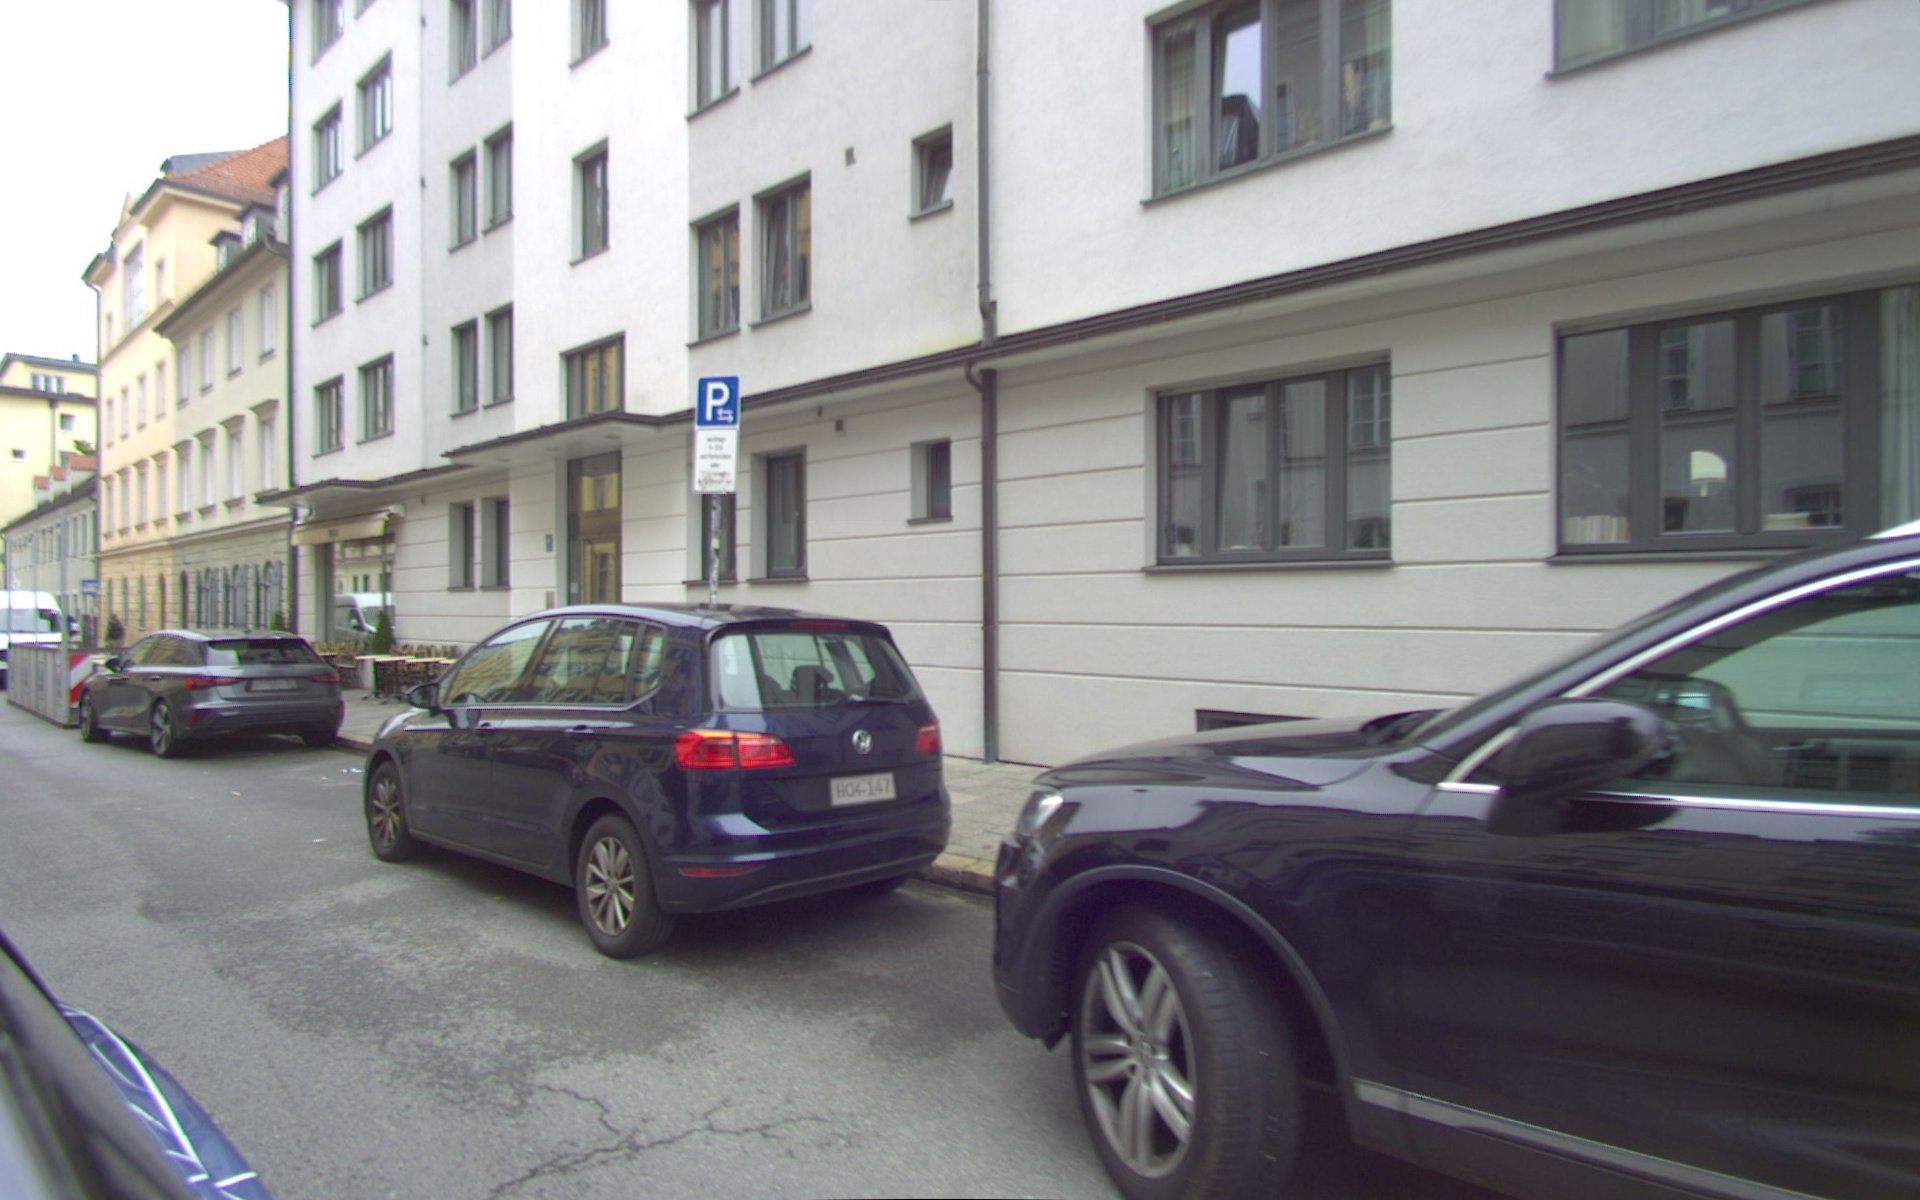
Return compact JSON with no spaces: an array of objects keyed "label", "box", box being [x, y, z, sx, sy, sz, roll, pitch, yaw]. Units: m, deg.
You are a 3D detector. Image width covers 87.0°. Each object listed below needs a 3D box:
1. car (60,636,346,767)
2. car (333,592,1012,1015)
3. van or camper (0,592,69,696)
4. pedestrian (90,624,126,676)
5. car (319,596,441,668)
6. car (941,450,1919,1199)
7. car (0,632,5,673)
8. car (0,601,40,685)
[{"label":"car","box":[-9.345,1.133,12.407,4.049,1.365,1.624,-2,-3,35]},{"label":"car","box":[-1.868,0.830,5.783,4.157,1.551,1.755,-2,-3,41]},{"label":"van or camper","box":[-23.355,1.038,24.671,5.479,2.329,1.971,-1,-1,43]},{"label":"pedestrian","box":[-28.626,1.663,33.989,1.021,1.725,0.797,-2,-2,43]},{"label":"car","box":[-17.519,0.937,30.500,4.399,2.029,1.972,-1,-1,43]},{"label":"car","box":[2.245,0.642,2.122,4.518,1.701,1.853,-2,-3,41]},{"label":"car","box":[-34.713,1.825,35.022,4.264,1.412,1.839,-2,-1,39]},{"label":"car","box":[-27.221,1.192,28.149,4.558,2.218,1.838,-2,-1,40]}]
